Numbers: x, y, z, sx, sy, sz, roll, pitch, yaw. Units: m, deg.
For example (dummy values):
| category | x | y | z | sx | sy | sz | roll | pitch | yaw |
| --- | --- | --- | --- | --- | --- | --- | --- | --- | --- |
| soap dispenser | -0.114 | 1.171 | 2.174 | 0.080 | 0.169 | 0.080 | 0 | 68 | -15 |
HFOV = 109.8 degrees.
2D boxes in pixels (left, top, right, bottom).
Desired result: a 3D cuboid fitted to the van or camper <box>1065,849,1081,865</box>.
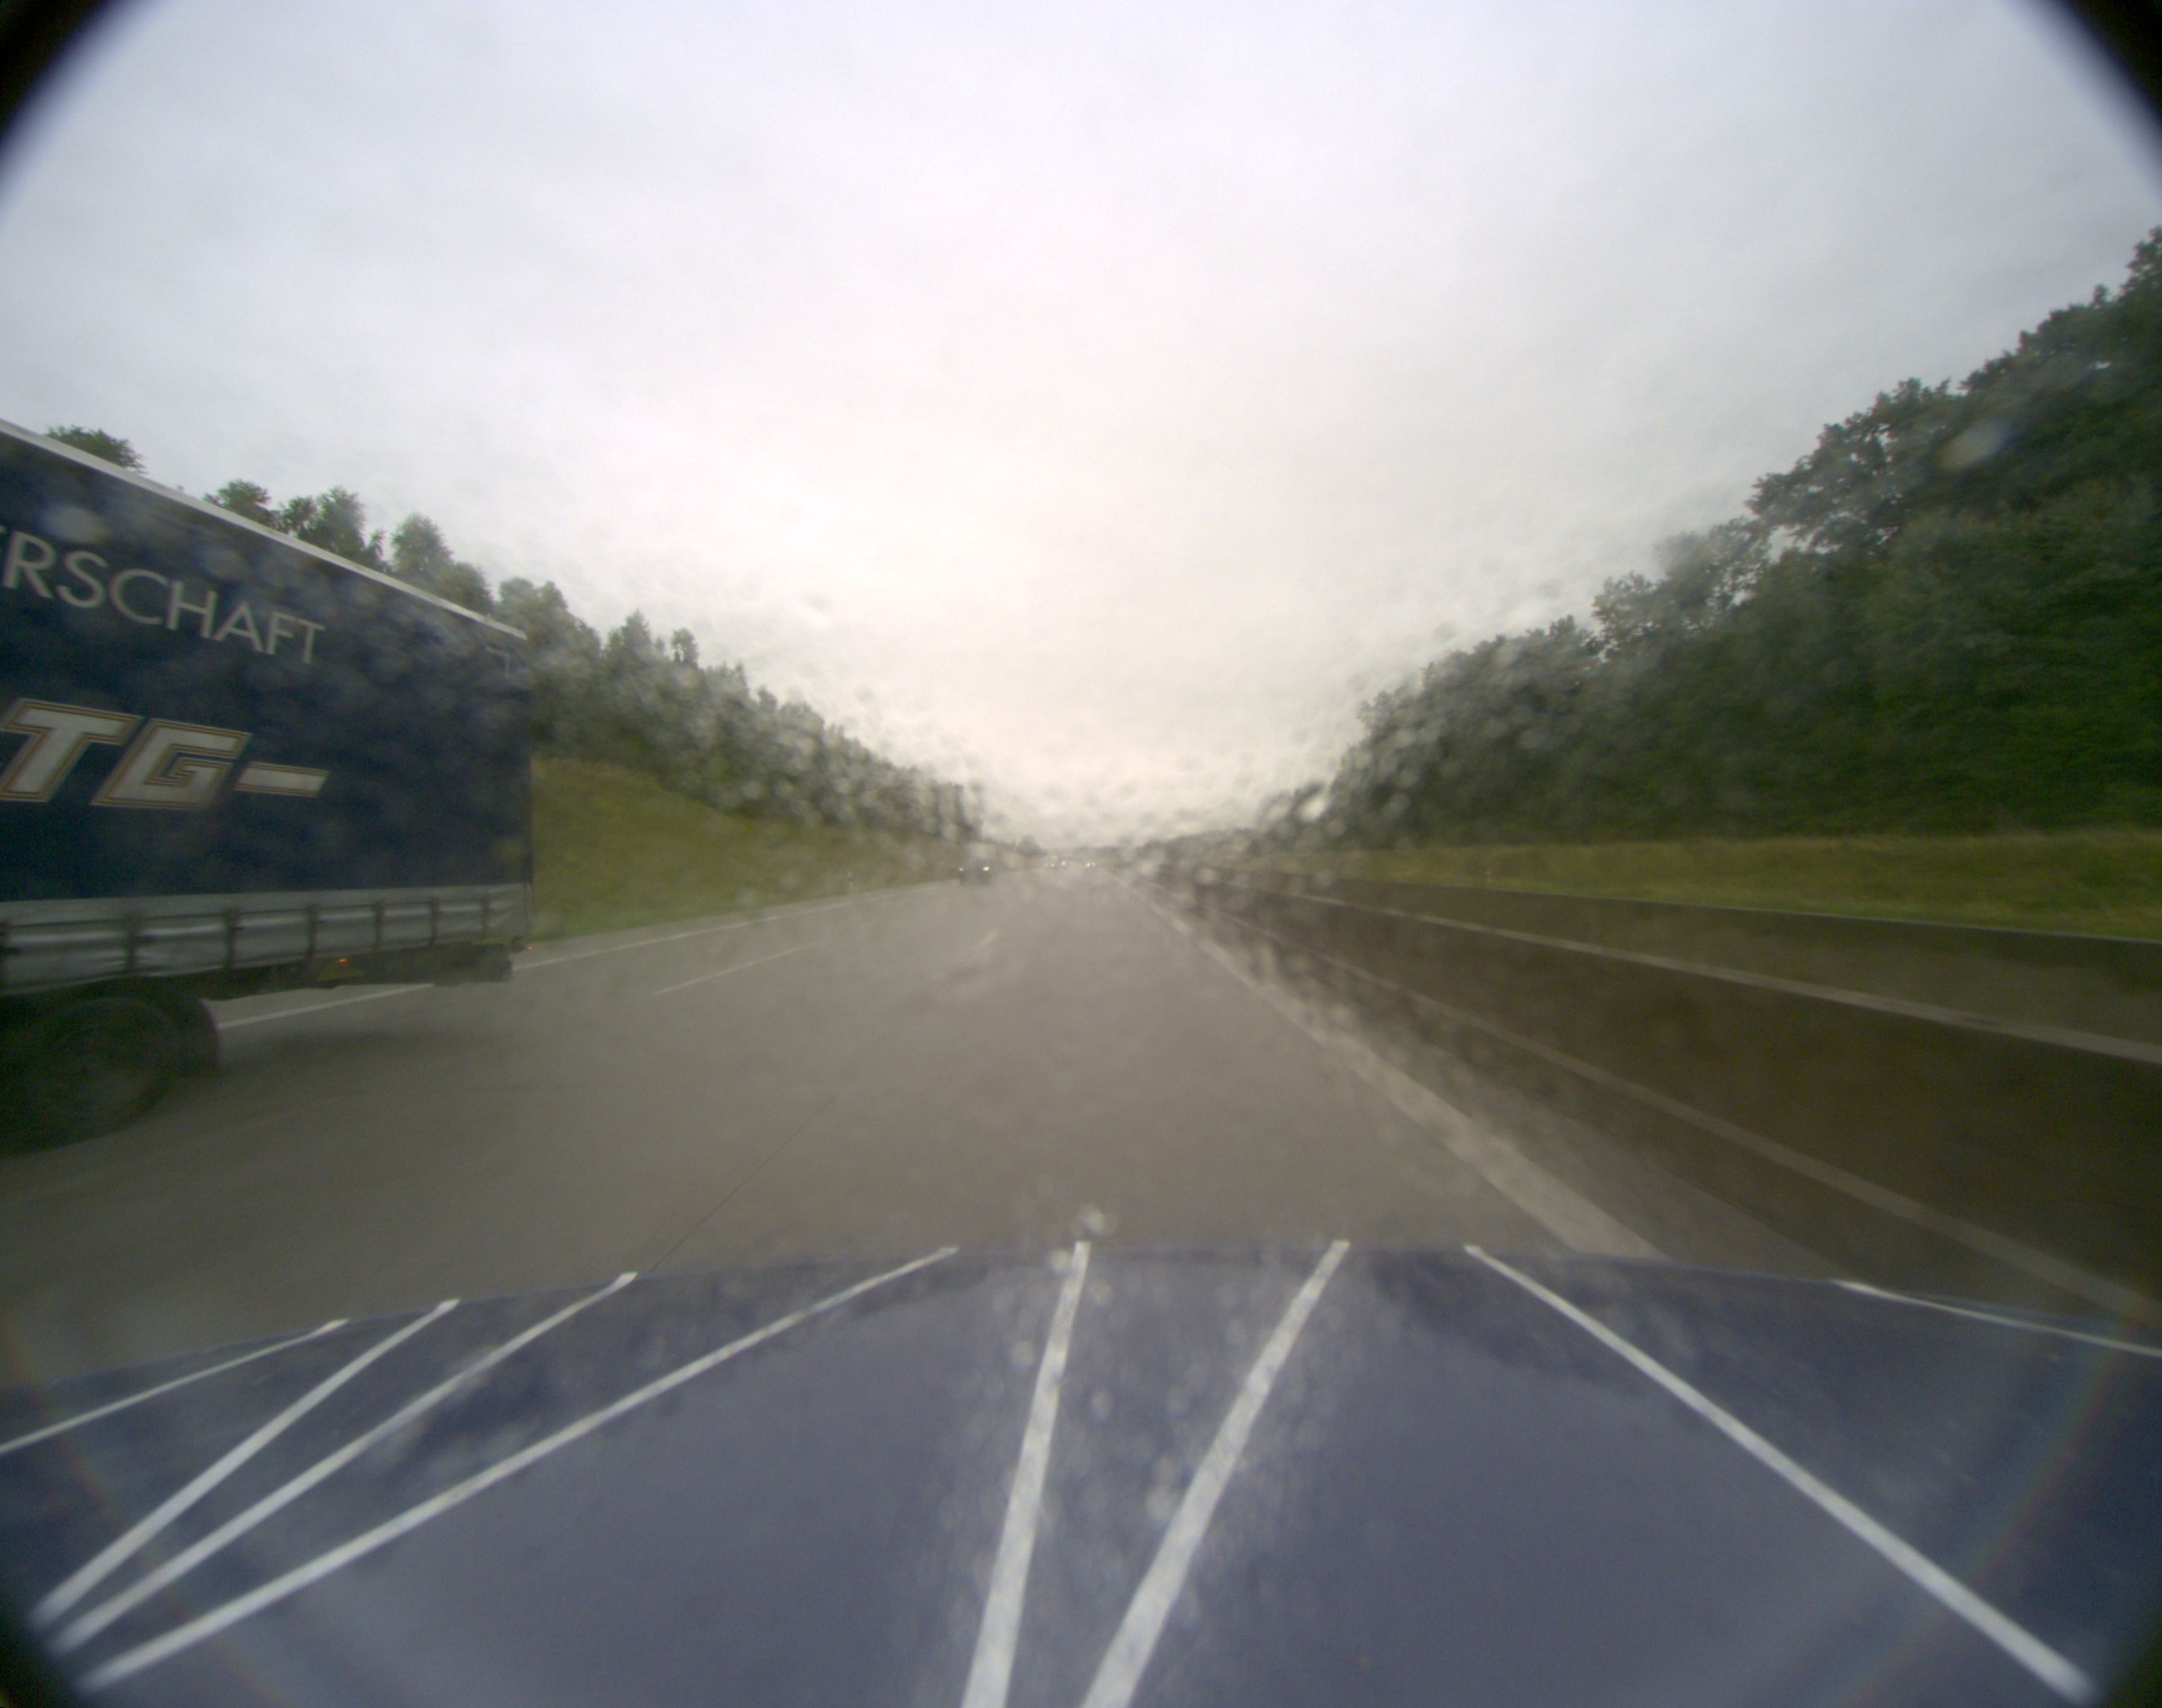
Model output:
| category | x | y | z | sx | sy | sz | roll | pitch | yaw |
| --- | --- | --- | --- | --- | --- | --- | --- | --- | --- |
| van or camper | -1.256 | 0.409 | 124.909 | 2.233 | 2.537 | 7.950 | 0 | 0 | 2 |

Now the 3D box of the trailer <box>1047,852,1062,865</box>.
| category | x | y | z | sx | sy | sz | roll | pitch | yaw |
| --- | --- | --- | --- | --- | --- | --- | --- | --- | --- |
| trailer | -5.061 | 0.842 | 144.863 | 2.348 | 2.445 | 5.940 | 0 | 0 | 2 |

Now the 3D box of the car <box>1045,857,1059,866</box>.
| category | x | y | z | sx | sy | sz | roll | pitch | yaw |
| --- | --- | --- | --- | --- | --- | --- | --- | --- | --- |
| car | -5.248 | 1.380 | 138.890 | 1.998 | 1.575 | 5.954 | -2 | 0 | 2 |

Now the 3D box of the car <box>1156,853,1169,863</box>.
| category | x | y | z | sx | sy | sz | roll | pitch | yaw |
| --- | --- | --- | --- | --- | --- | --- | --- | --- | --- |
| car | 14.847 | 0.695 | 139.070 | 1.884 | 1.655 | 4.687 | 0 | 1 | 1 |

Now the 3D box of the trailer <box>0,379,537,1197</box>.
| category | x | y | z | sx | sy | sz | roll | pitch | yaw |
| --- | --- | --- | --- | --- | --- | --- | --- | --- | --- |
| trailer | -7.125 | -0.315 | 0.212 | 2.713 | 4.354 | 15.203 | -2 | 0 | 1 |

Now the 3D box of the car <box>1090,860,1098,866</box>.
| category | x | y | z | sx | sy | sz | roll | pitch | yaw |
| --- | --- | --- | --- | --- | --- | --- | --- | --- | --- |
| car | 2.956 | 2.100 | 173.622 | 1.733 | 1.450 | 4.673 | -1 | -1 | 1 |

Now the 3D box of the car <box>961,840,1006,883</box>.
| category | x | y | z | sx | sy | sz | roll | pitch | yaw |
| --- | --- | --- | --- | --- | --- | --- | --- | --- | --- |
| car | -6.500 | 0.490 | 51.446 | 1.945 | 2.643 | 6.587 | -2 | 0 | 2 |
